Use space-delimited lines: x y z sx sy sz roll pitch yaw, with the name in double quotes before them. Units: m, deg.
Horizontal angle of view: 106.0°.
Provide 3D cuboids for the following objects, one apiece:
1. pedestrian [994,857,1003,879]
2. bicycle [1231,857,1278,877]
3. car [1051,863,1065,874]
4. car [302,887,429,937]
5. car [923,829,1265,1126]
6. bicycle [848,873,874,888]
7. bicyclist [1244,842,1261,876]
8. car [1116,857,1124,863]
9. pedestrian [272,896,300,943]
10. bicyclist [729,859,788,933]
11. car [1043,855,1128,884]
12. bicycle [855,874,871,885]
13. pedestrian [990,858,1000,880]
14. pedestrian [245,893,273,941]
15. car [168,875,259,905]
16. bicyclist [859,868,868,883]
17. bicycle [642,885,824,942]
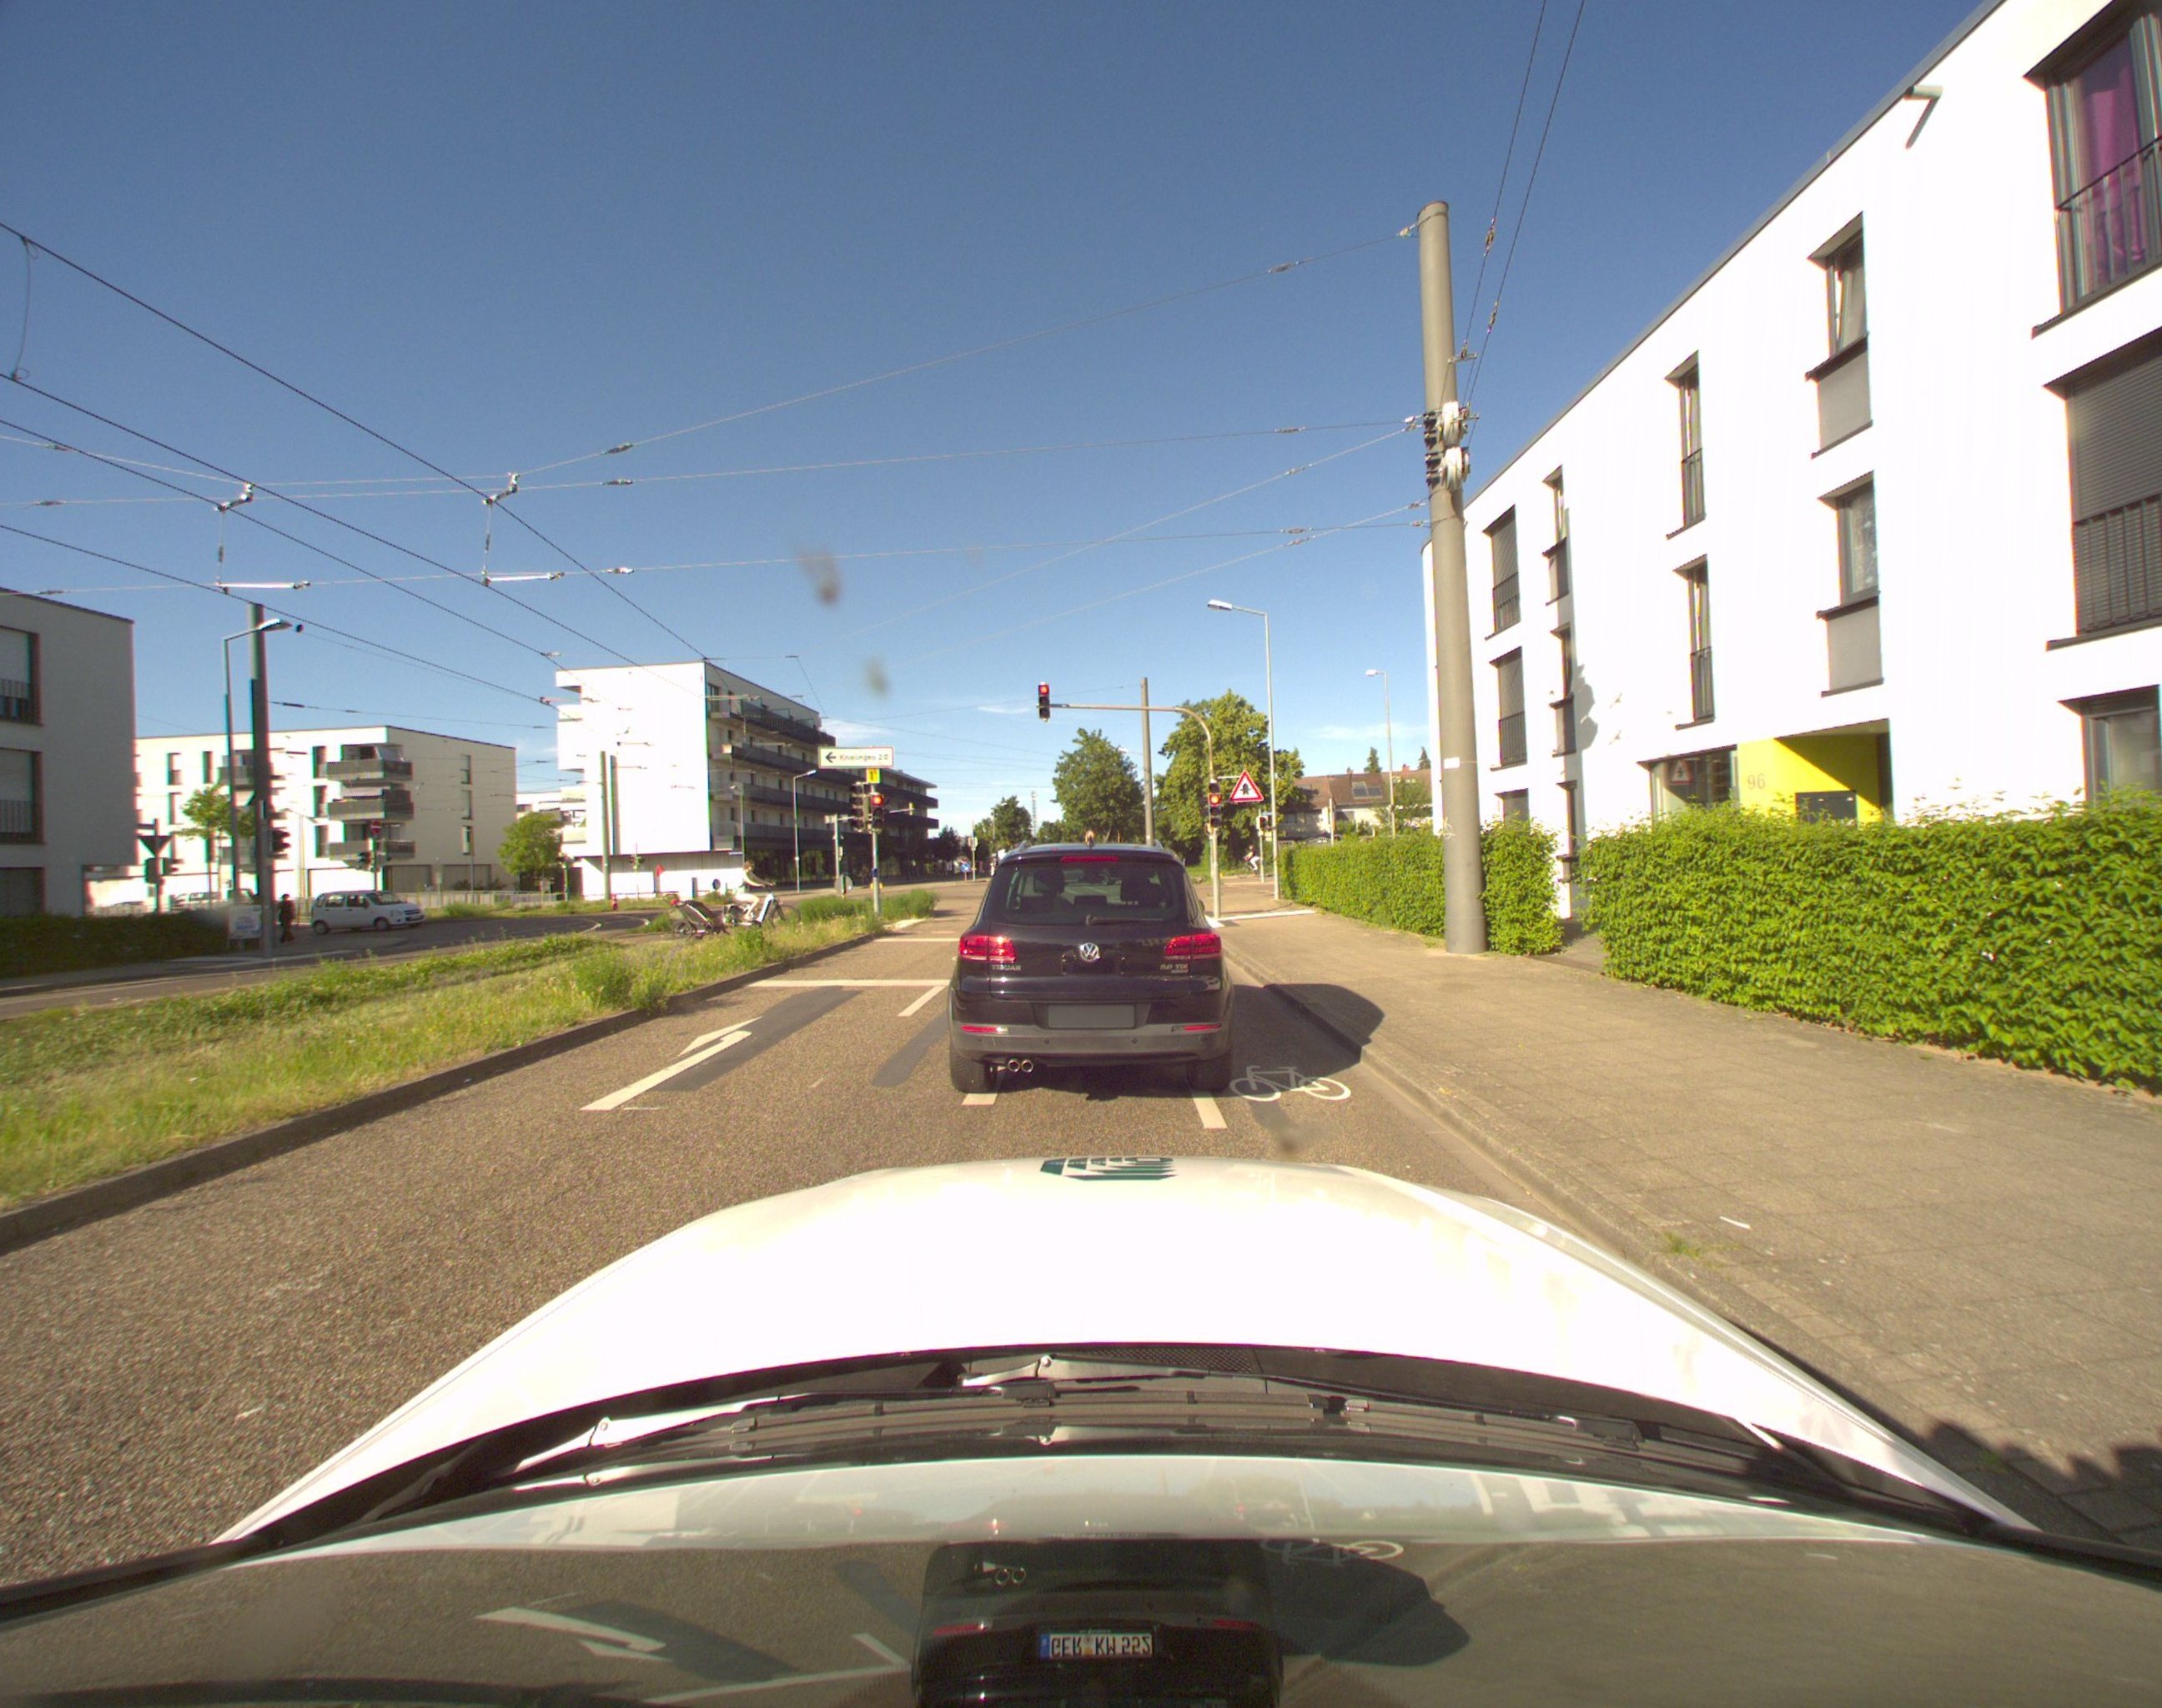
"pedestrian" -6.123 1.049 60.430 0.600 1.640 0.530 -1 0 6
"bicycle" 9.569 0.704 45.000 2.492 1.059 0.777 -1 0 4
"car" -3.469 2.184 122.477 1.648 1.640 4.004 -1 0 4
"car" -28.165 2.257 32.121 3.478 1.652 1.593 -4 0 1
"car" 0.094 0.696 6.588 1.899 1.643 4.000 -1 0 0
"bicycle" -17.064 2.056 63.296 0.958 1.085 1.845 -1 0 25
"bicyclist" 9.493 0.271 45.022 0.799 1.807 0.685 -1 0 5
"car" 9.020 1.428 190.064 1.745 1.387 4.000 -1 0 0
"pedestrian" -25.970 2.117 26.612 0.561 1.464 0.605 -1 0 -36
"bicyclist" -7.337 0.935 18.571 0.907 1.630 0.976 -1 0 0
"car" 0.291 0.830 45.456 4.474 1.504 2.003 -1 0 6
"bicycle" -17.839 2.098 66.732 0.493 0.848 2.082 -1 0 6
"pedestrian" -6.285 1.080 59.658 0.600 1.565 0.530 -1 0 6
"pedestrian" -26.489 2.026 26.256 0.562 1.464 0.734 -1 0 -40
"car" -58.712 2.413 55.180 3.974 1.838 2.000 -1 0 0
"bicyclist" -17.837 1.752 66.748 0.472 1.223 0.713 -1 0 5
"bicycle" -7.876 1.348 18.554 3.670 1.174 0.999 1 0 0
